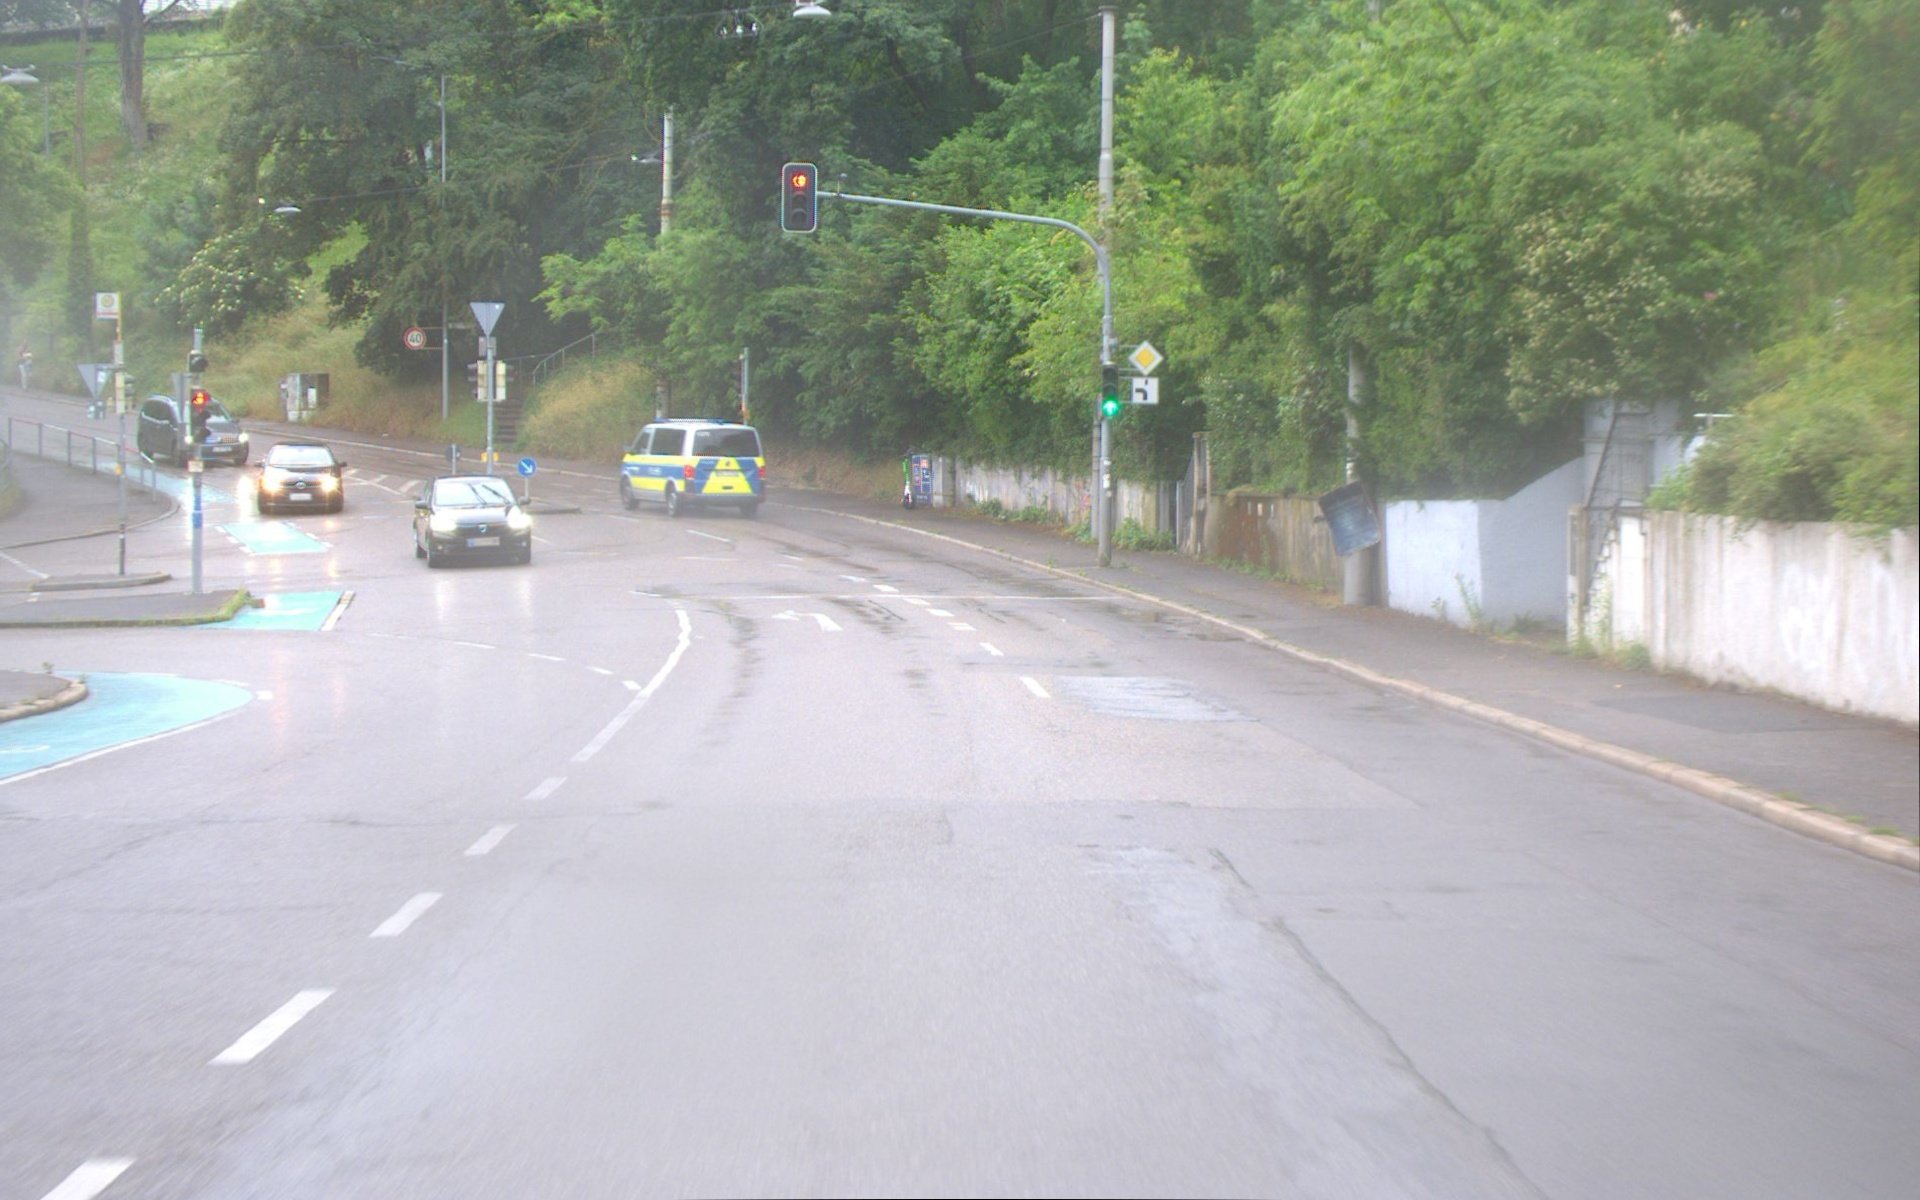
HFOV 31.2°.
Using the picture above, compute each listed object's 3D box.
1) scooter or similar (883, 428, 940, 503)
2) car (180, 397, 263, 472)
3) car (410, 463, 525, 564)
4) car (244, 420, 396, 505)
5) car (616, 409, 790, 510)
[{"bbox_3d":[-1.024,-2.821,71.890,0.616,1.416,2.160,-3,6,-16],"label":"scooter or similar"},{"bbox_3d":[-18.980,-4.270,88.255,1.740,1.544,4.003,-3,8,-15],"label":"car"},{"bbox_3d":[-8.555,-1.529,59.535,1.741,1.544,4.002,-3,4,-10],"label":"car"},{"bbox_3d":[-13.967,-3.038,75.282,1.742,1.544,3.999,-1,6,13],"label":"car"},{"bbox_3d":[-5.502,-3.013,73.051,2.308,1.932,4.327,-4,5,-23],"label":"car"}]
